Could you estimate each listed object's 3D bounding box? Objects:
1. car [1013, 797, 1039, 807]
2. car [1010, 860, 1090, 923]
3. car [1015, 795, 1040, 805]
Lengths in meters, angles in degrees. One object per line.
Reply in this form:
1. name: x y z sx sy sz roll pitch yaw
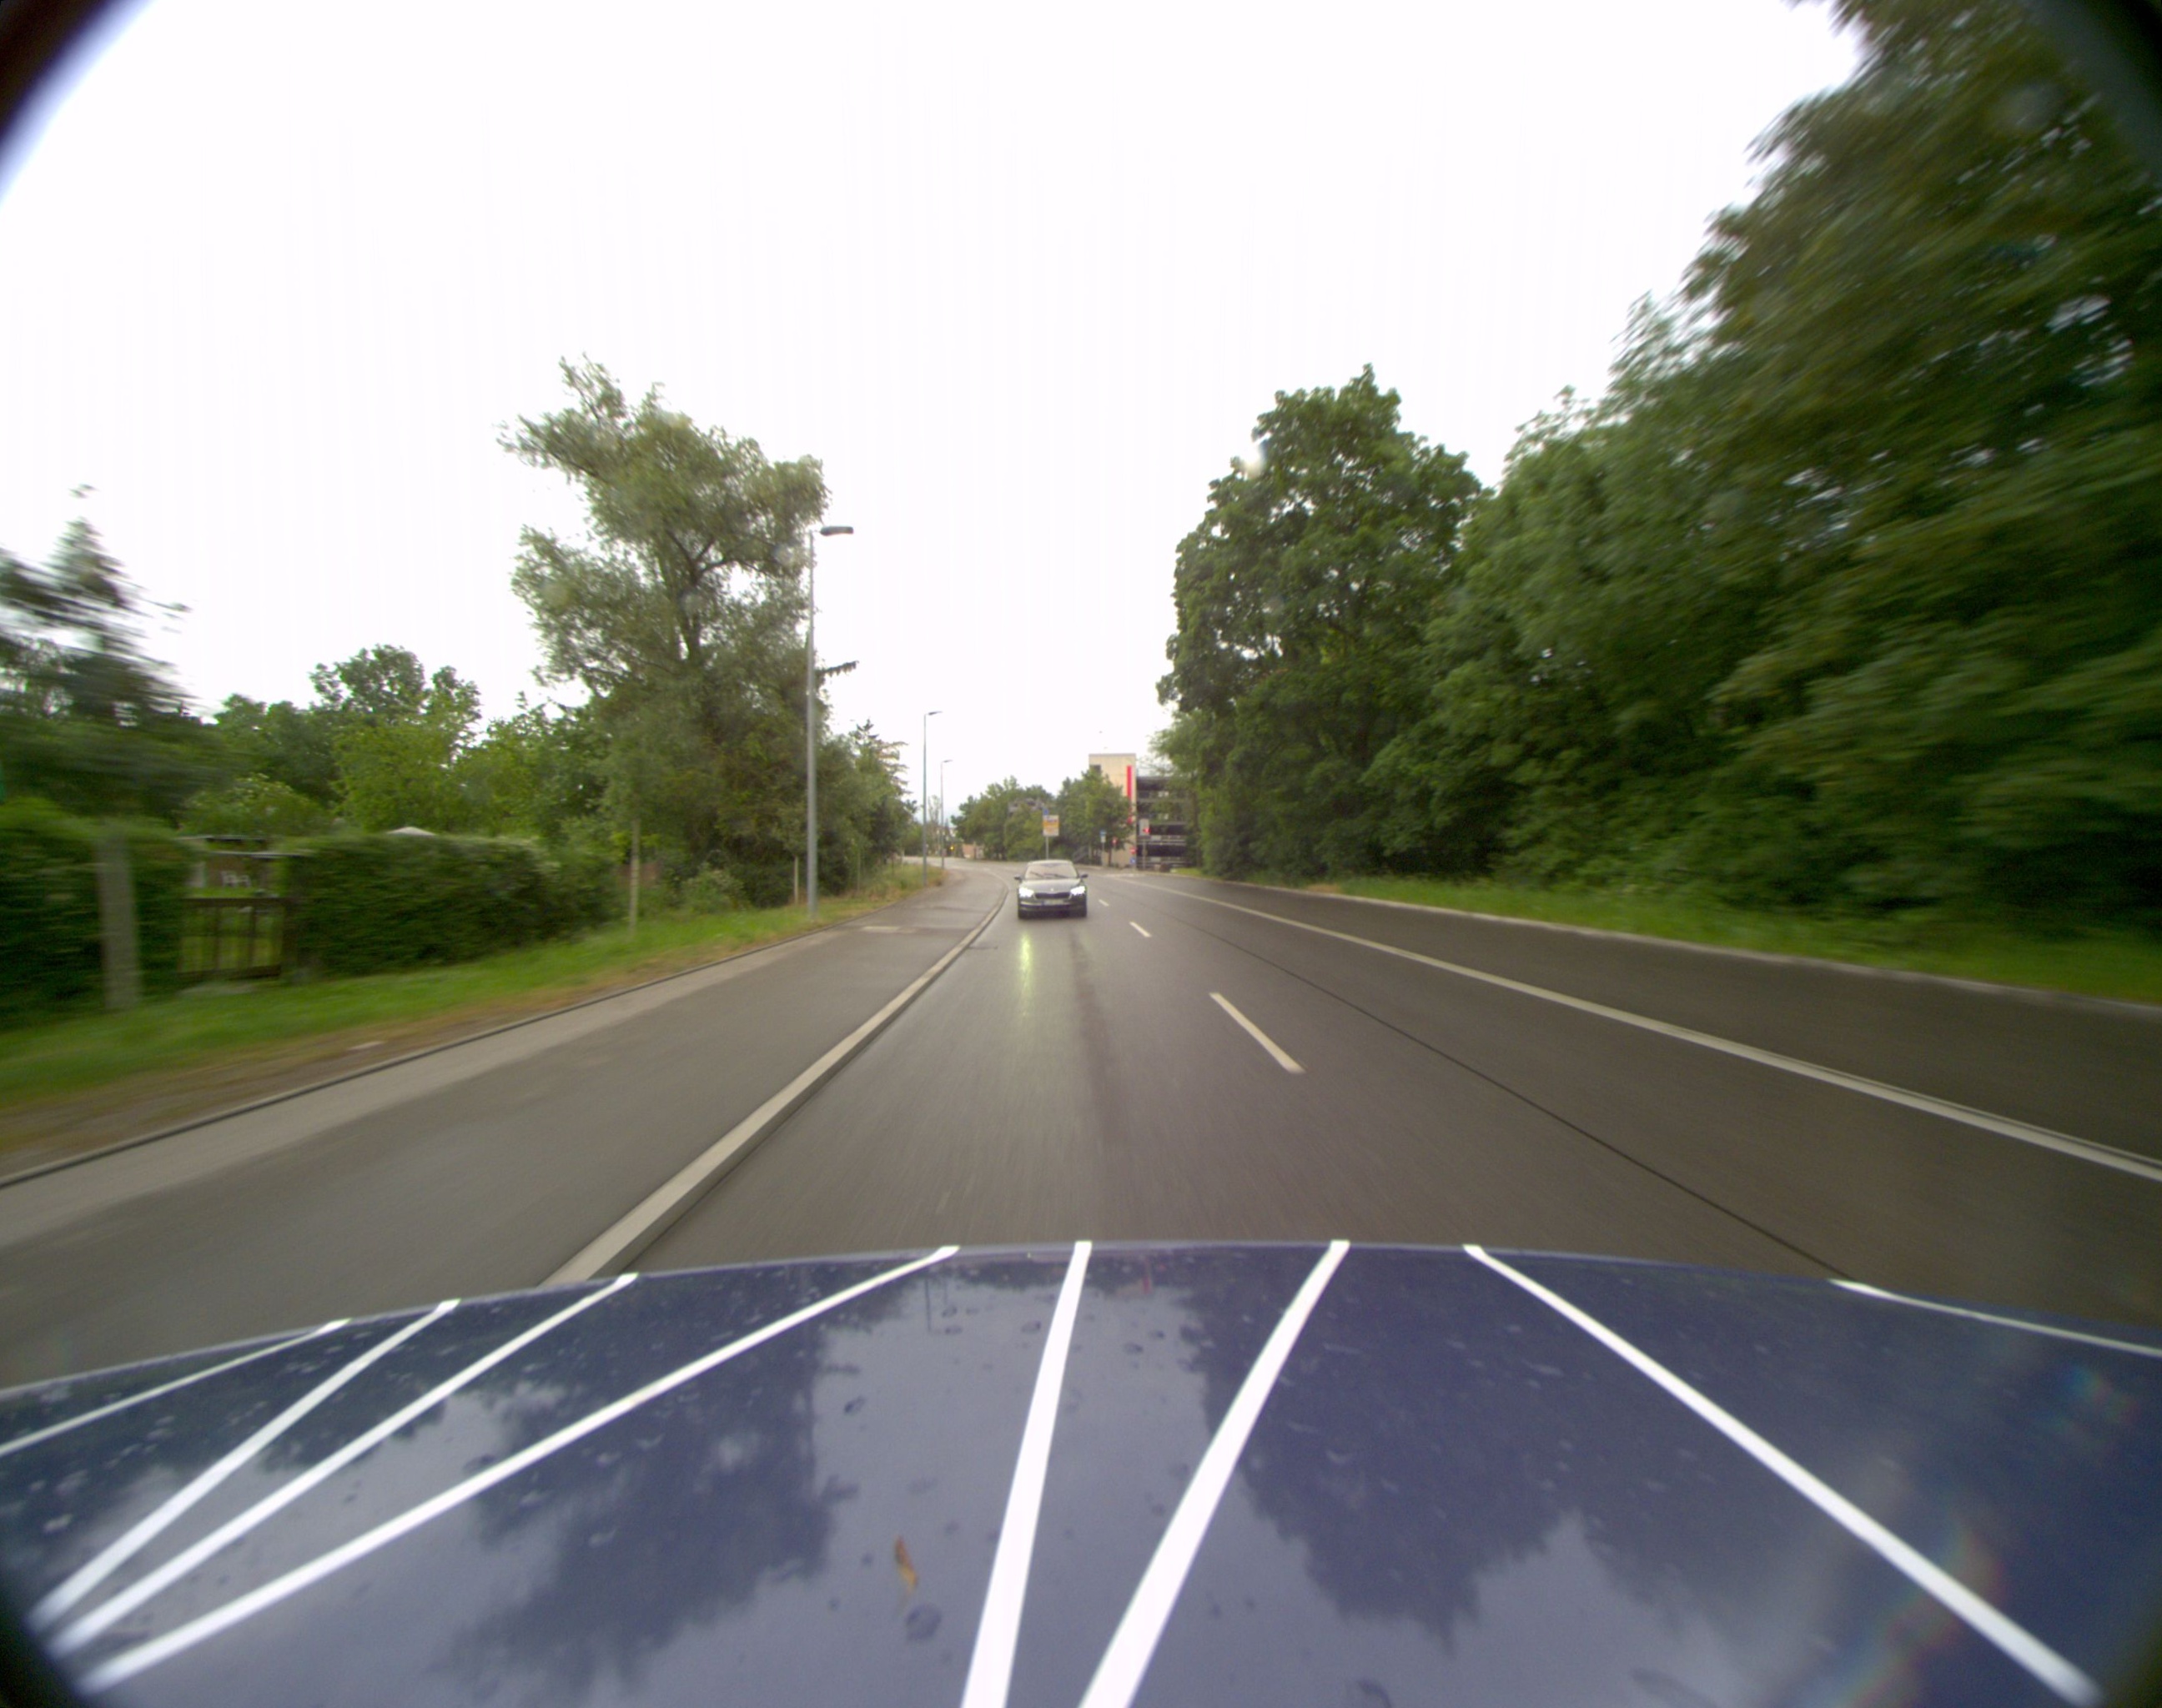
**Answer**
1. car: -9.063 -8.599 125.609 3.994 1.510 2.001 1 1 9
2. car: -0.729 0.933 20.737 1.838 1.448 4.202 -1 0 2
3. car: -9.123 -9.220 129.762 3.994 1.510 2.001 1 1 9
